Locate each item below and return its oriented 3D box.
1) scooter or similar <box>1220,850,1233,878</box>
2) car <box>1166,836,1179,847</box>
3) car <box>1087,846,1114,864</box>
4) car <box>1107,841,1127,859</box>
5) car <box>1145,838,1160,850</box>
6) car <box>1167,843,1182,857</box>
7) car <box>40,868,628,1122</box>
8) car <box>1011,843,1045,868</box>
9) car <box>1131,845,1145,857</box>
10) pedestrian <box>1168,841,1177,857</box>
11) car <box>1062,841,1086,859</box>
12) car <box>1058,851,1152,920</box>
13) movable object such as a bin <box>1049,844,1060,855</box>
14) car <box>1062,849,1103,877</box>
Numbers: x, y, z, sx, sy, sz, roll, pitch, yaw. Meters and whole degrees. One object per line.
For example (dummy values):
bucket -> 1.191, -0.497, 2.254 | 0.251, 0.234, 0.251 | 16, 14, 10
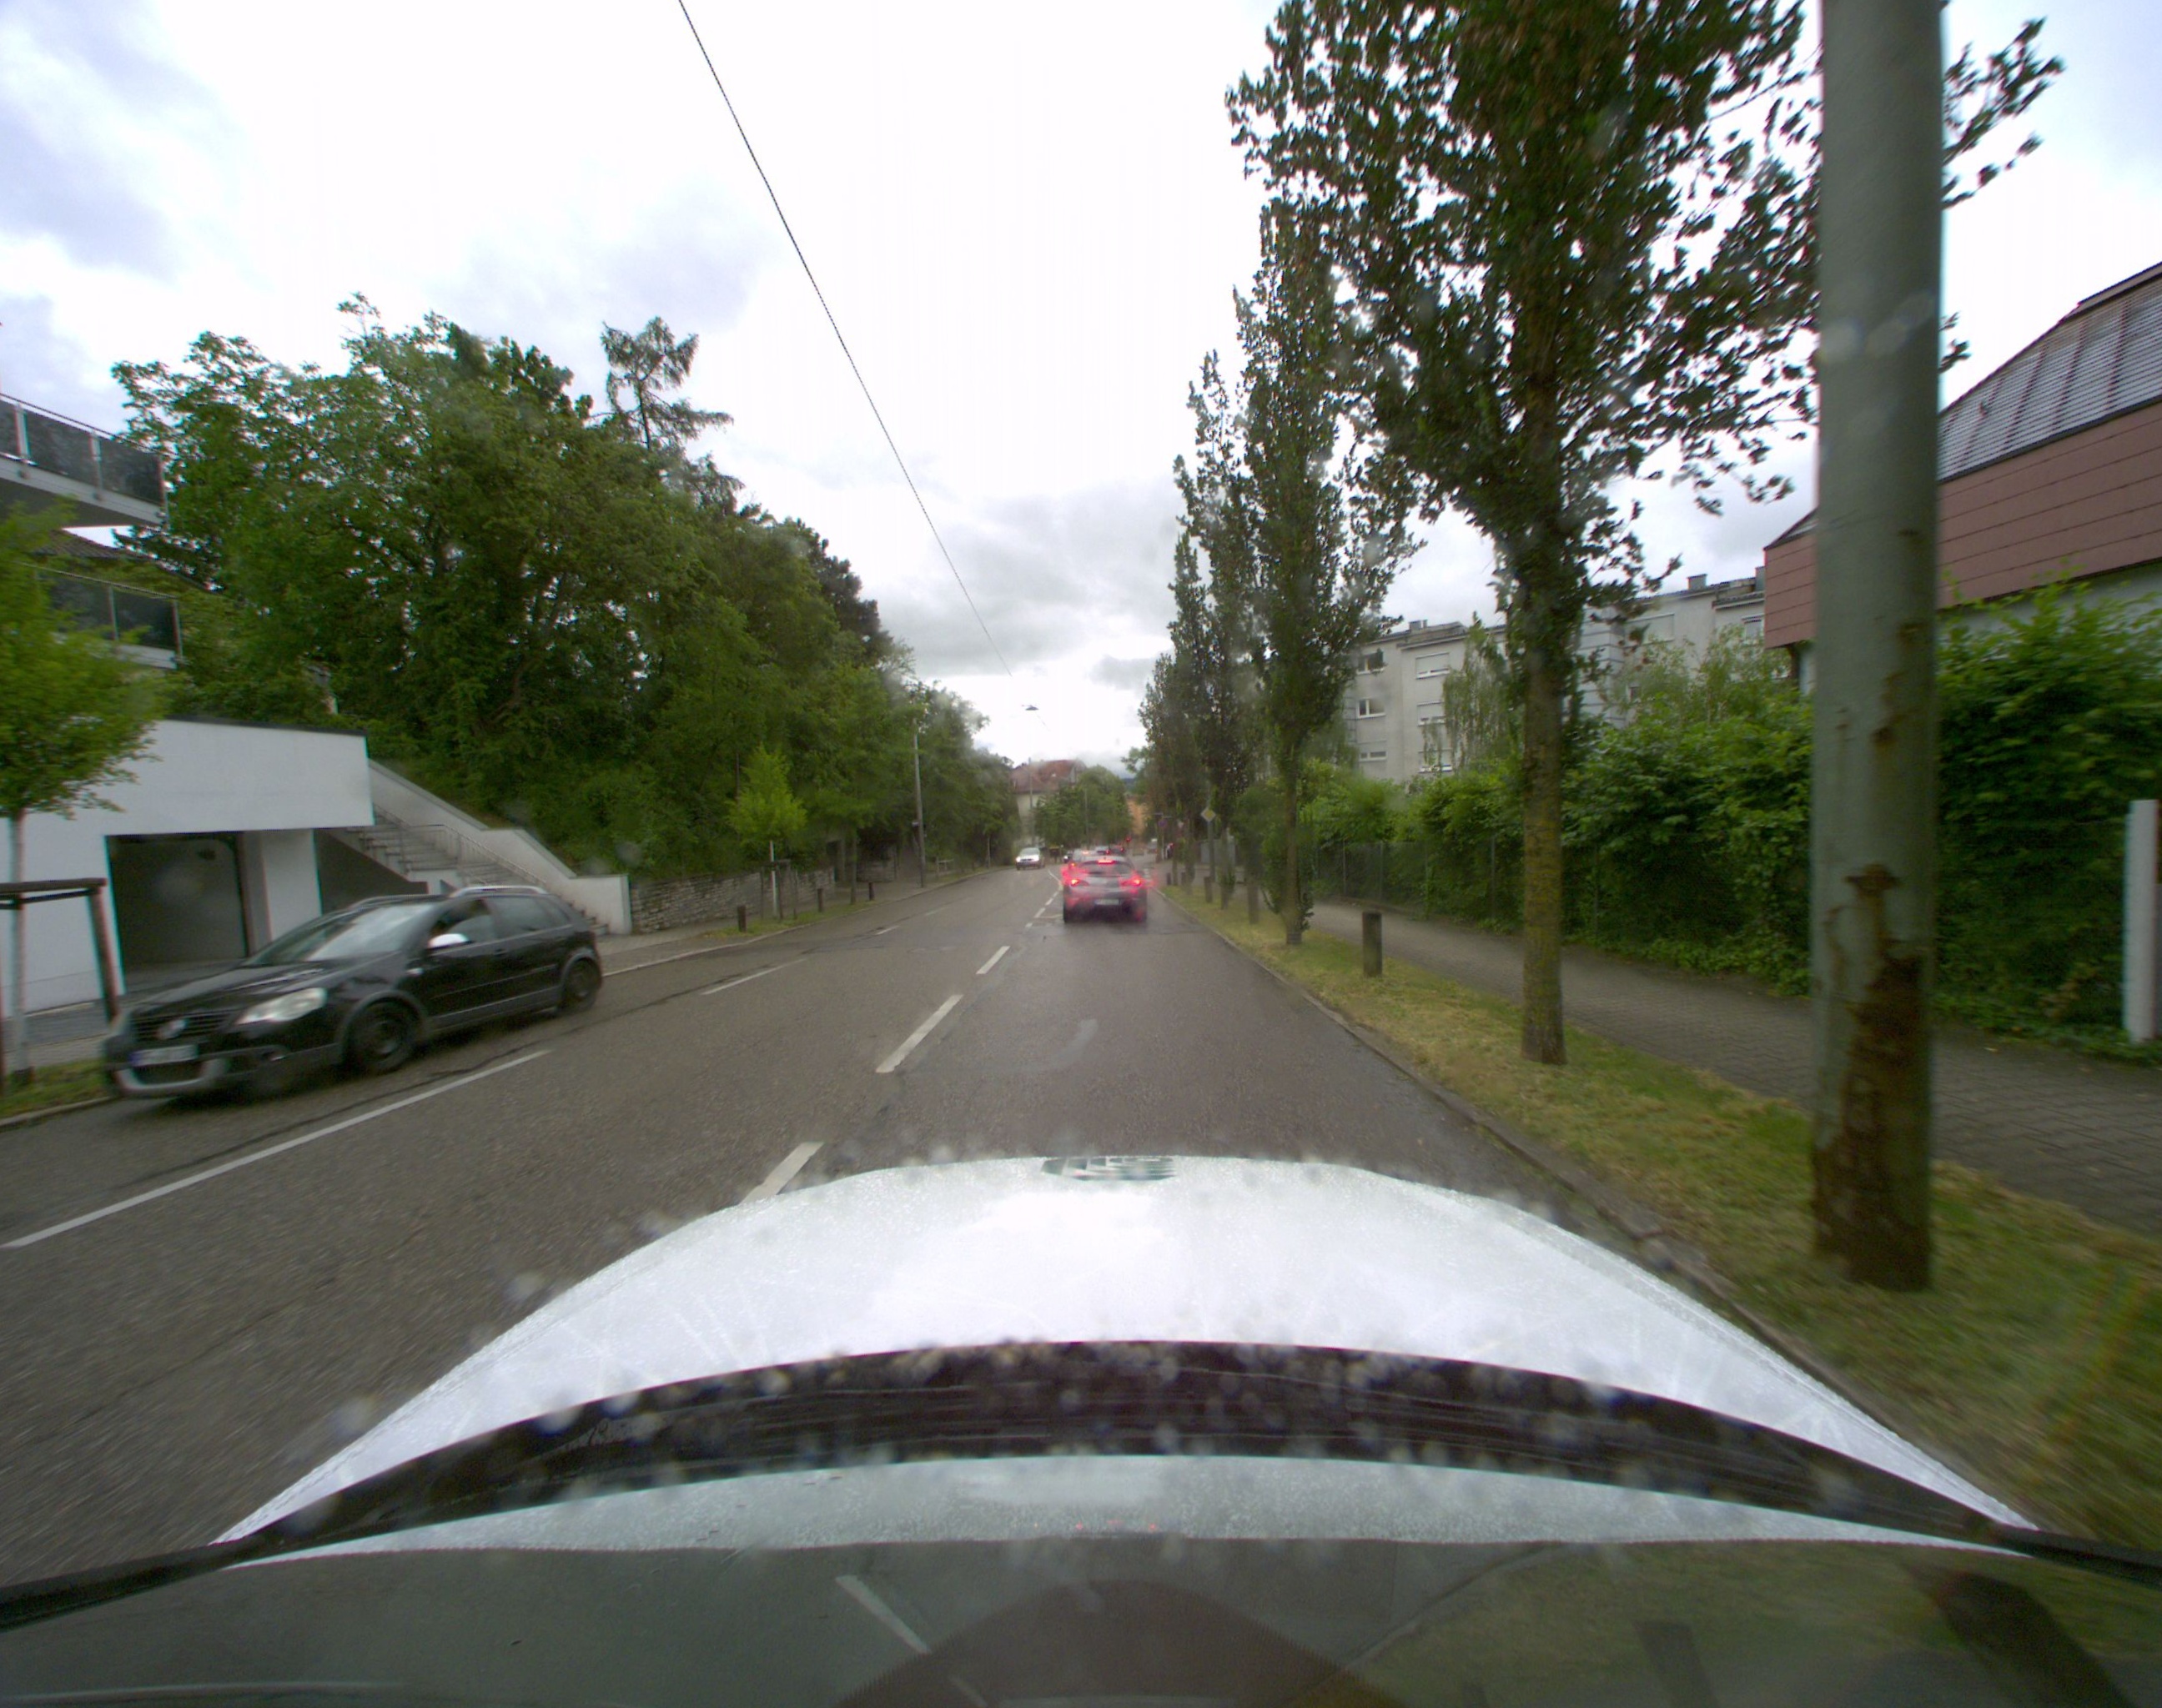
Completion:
scooter or similar -> 6.619, 0.457, 36.995 | 0.341, 1.254, 1.267 | 1, 0, 0
car -> 16.931, -2.287, 150.570 | 1.982, 2.036, 4.747 | 1, 2, 9
car -> 1.761, 0.071, 71.740 | 1.950, 1.472, 3.959 | 1, 2, 7
car -> 3.892, -0.459, 87.443 | 1.759, 1.780, 3.985 | 1, 2, 7
car -> 12.737, -1.826, 145.366 | 2.320, 2.036, 4.748 | 1, 2, 9
car -> 10.782, -0.459, 93.767 | 1.495, 1.435, 4.009 | -3, 0, 7
car -> -6.312, 1.020, 7.652 | 1.739, 1.549, 3.918 | -5, 0, 1
car -> -3.629, 0.093, 56.374 | 1.757, 1.486, 3.805 | -4, 1, 3
car -> 8.174, -0.497, 117.024 | 1.745, 1.651, 4.008 | 1, 1, 7
pedestrian -> 10.228, -0.566, 90.997 | 0.736, 1.723, 0.761 | -5, 1, -17
car -> -0.631, -0.396, 82.150 | 1.903, 1.585, 4.592 | -5, 0, 4
car -> 0.558, 0.647, 18.958 | 1.938, 1.432, 3.885 | 0, 0, 1
movable object such as a bin -> -3.526, -0.623, 108.257 | 1.265, 1.387, 0.490 | -1, 1, 6
car -> 0.121, 0.418, 41.538 | 1.790, 1.323, 4.004 | -1, 1, 3
